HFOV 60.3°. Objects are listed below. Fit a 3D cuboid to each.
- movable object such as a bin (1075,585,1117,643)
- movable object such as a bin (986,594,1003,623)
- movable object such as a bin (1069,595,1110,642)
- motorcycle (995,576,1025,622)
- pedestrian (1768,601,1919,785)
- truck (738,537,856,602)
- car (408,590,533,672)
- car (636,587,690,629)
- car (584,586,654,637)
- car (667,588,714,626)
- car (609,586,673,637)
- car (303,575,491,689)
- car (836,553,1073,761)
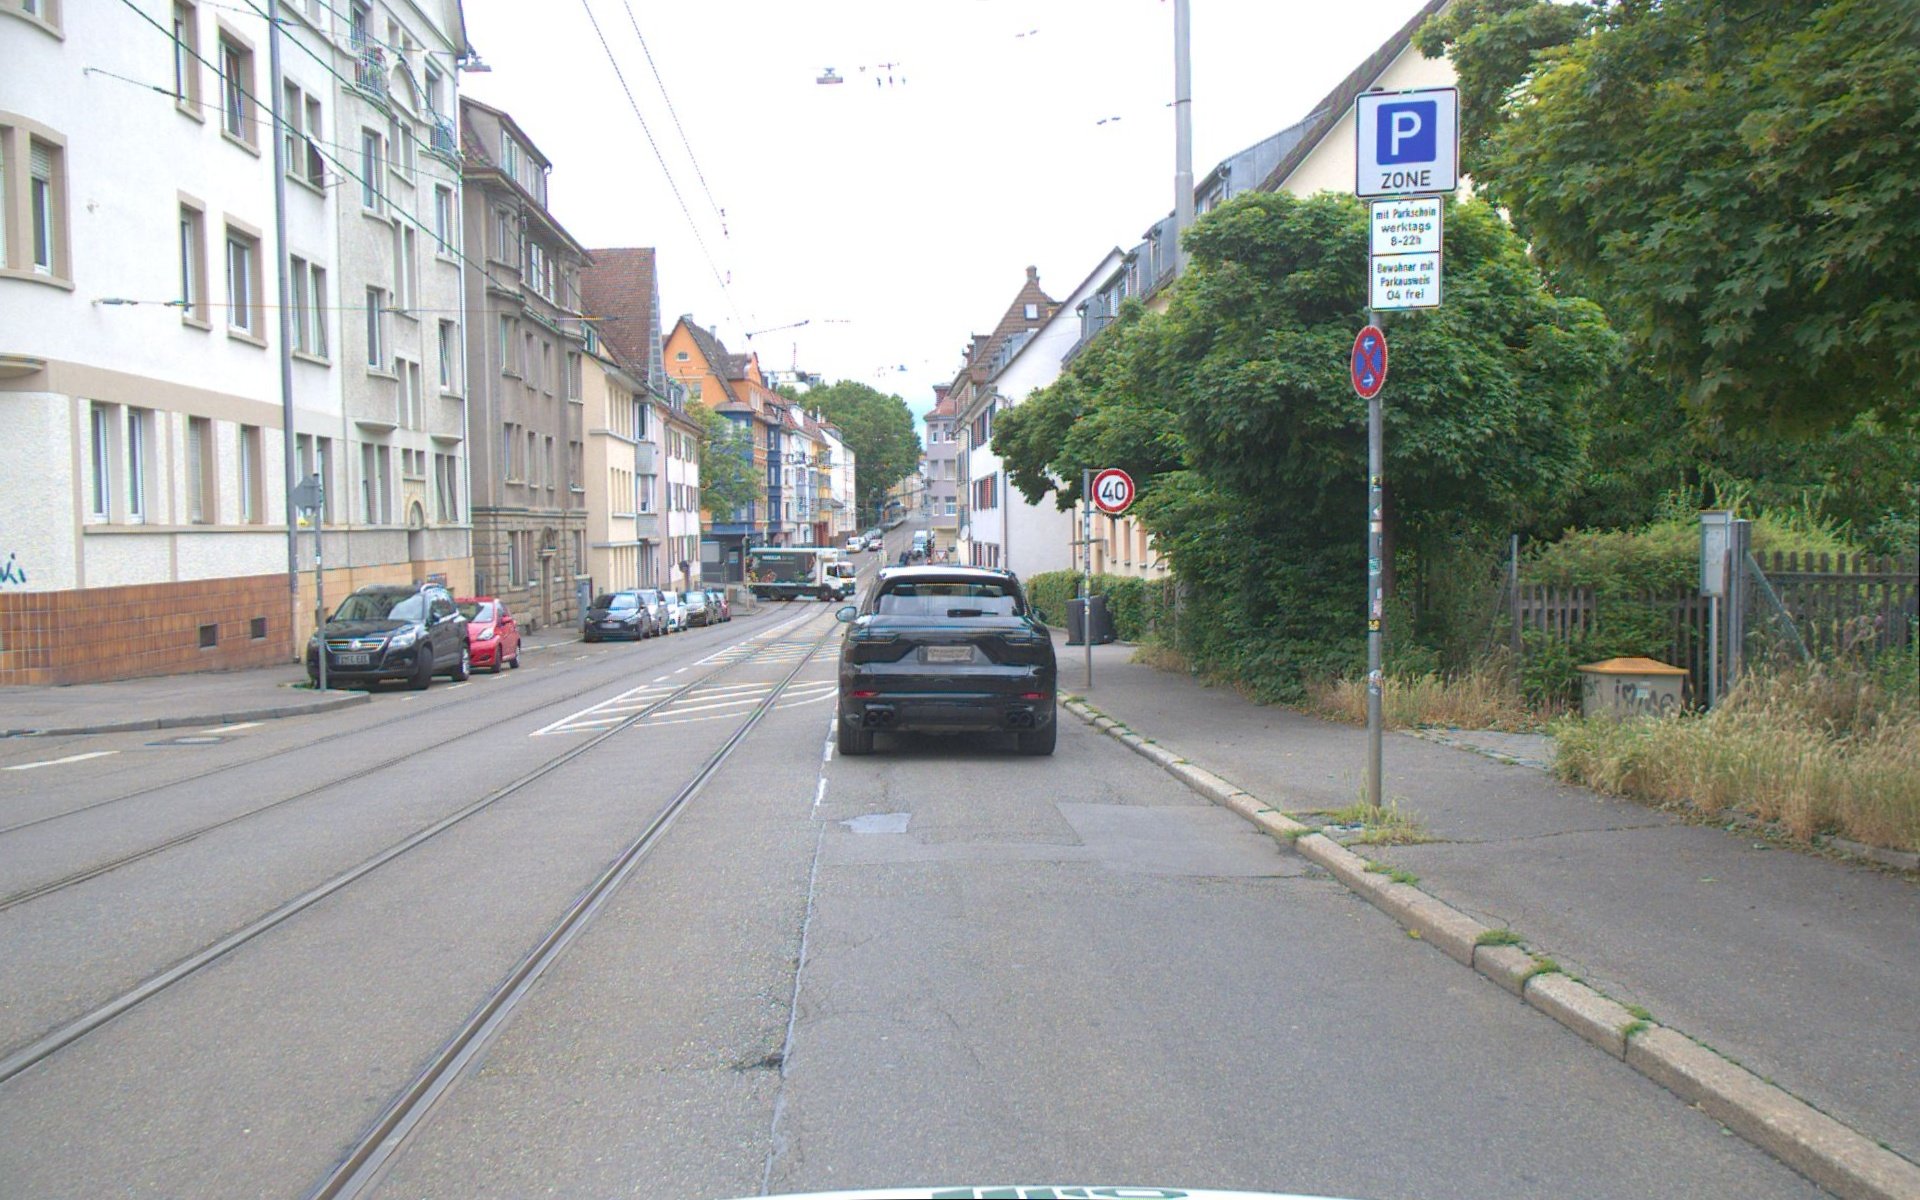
[{"bbox_3d":[2.980,0.300,36.307,0.777,1.239,0.788,-1,0,-7],"label":"movable object such as a bin"},{"bbox_3d":[1.291,0.317,61.775,0.576,1.099,0.691,-1,0,-1],"label":"movable object such as a bin"},{"bbox_3d":[2.893,0.404,37.105,0.777,1.029,0.788,-1,0,-7],"label":"movable object such as a bin"},{"bbox_3d":[1.672,-0.046,55.235,0.821,1.482,2.552,-1,0,-2],"label":"motorcycle"},{"bbox_3d":[6.703,0.681,12.535,0.730,1.331,0.807,-1,0,-2],"label":"pedestrian"},{"bbox_3d":[-11.508,-2.096,116.417,8.397,4.255,2.257,-1,-2,27],"label":"truck"},{"bbox_3d":[-9.700,0.598,33.009,1.589,1.489,3.742,-2,0,-4],"label":"car"},{"bbox_3d":[-11.179,0.296,62.370,1.589,1.489,3.681,-2,0,-4],"label":"car"},{"bbox_3d":[-10.589,0.349,51.635,1.589,1.489,4.029,-2,0,-4],"label":"car"},{"bbox_3d":[-11.550,0.306,71.073,1.589,1.499,4.552,-2,0,-4],"label":"car"},{"bbox_3d":[-10.853,0.403,56.454,1.589,1.632,4.347,-2,0,-4],"label":"car"},{"bbox_3d":[-9.137,0.493,27.226,1.831,1.674,4.398,-2,0,-4],"label":"car"},{"bbox_3d":[-0.152,0.464,15.764,1.954,1.705,3.997,-1,0,-3],"label":"car"}]
